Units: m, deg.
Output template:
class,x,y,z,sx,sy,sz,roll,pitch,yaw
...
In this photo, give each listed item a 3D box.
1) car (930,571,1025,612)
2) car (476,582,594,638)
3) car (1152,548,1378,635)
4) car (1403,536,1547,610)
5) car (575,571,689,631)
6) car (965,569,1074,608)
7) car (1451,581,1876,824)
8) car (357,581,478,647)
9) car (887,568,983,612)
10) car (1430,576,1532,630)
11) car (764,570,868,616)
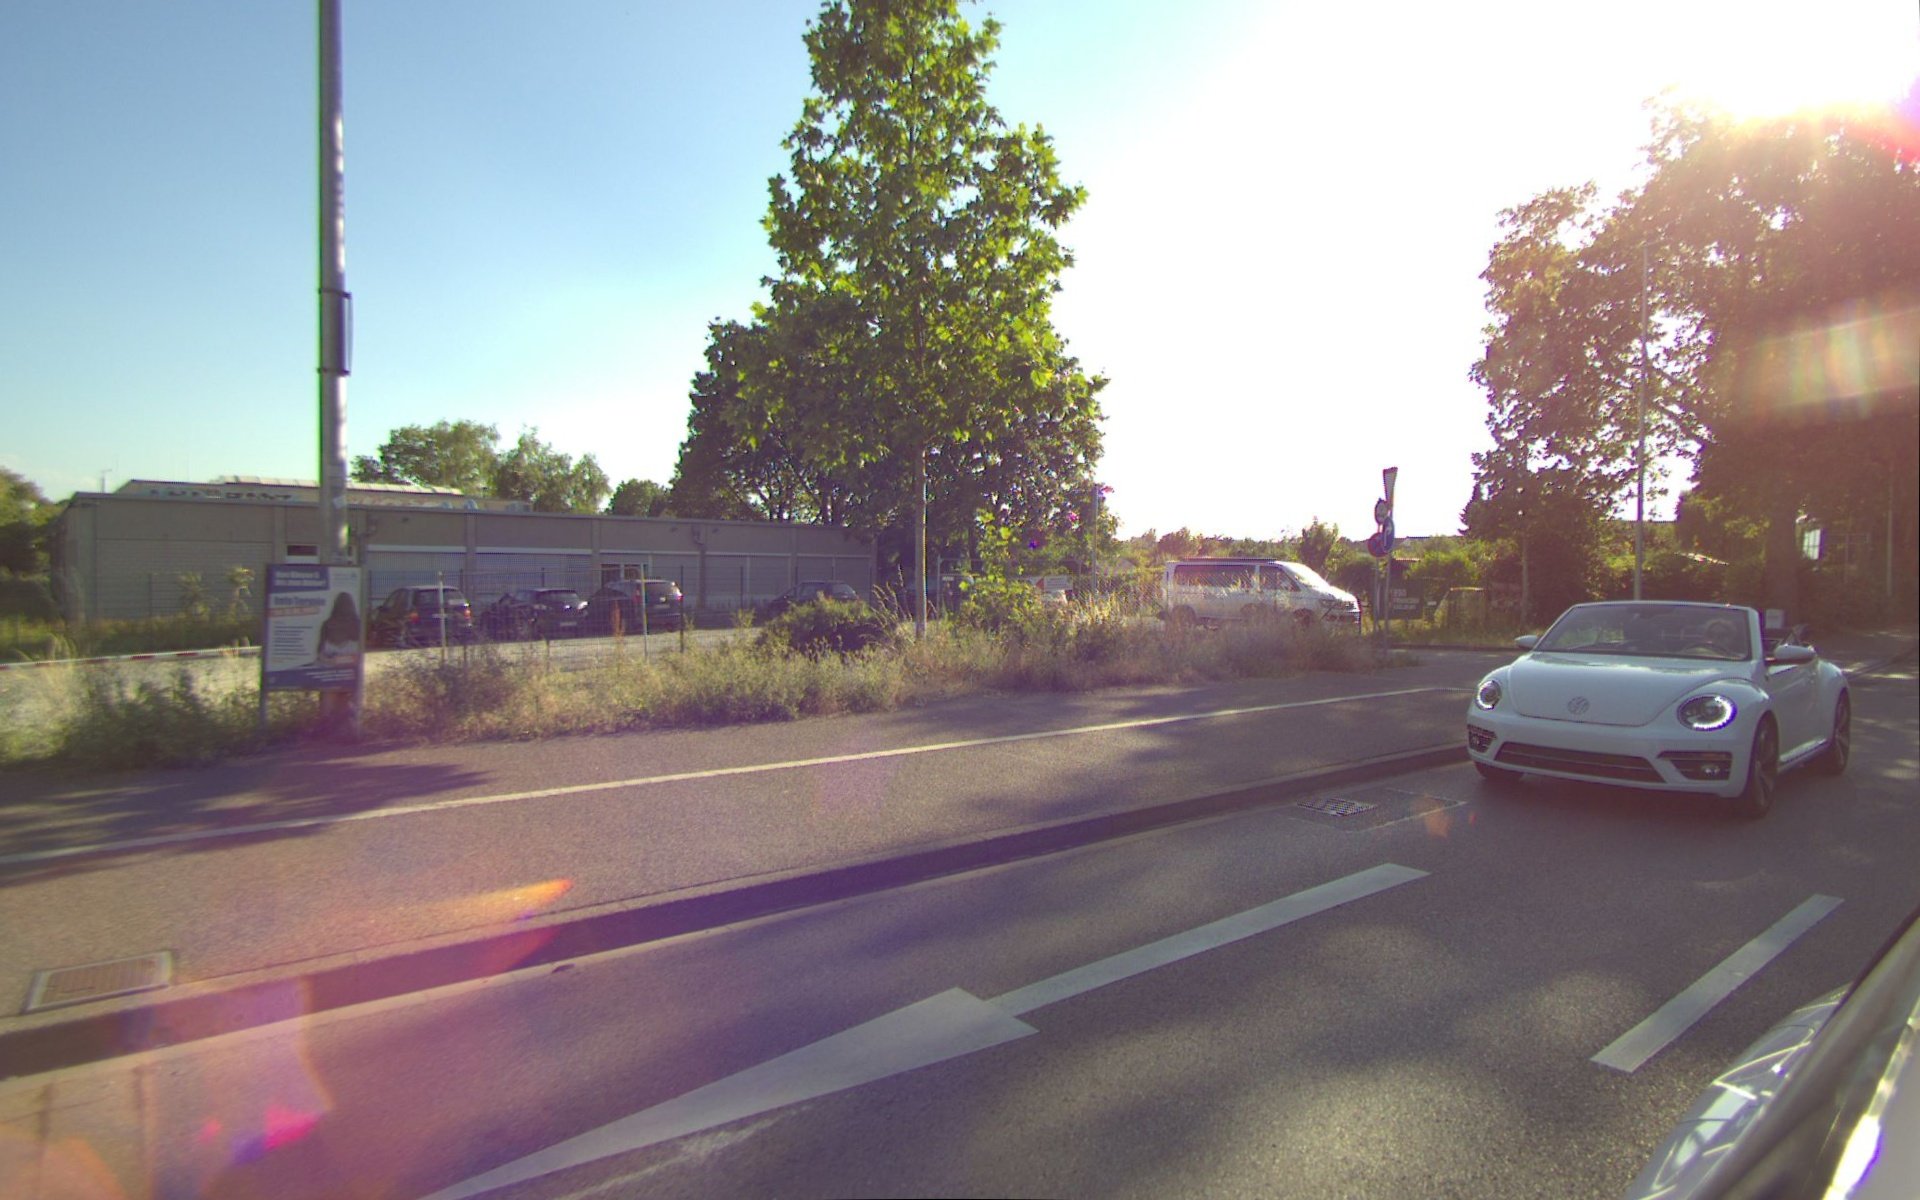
class,x,y,z,sx,sy,sz,roll,pitch,yaw
car,0.685,-0.347,41.797,1.694,1.606,3.830,0,0,-44
car,-12.304,0.243,29.217,3.781,1.413,1.714,1,4,43
car,7.838,-0.204,26.419,2.070,2.048,5.338,0,0,-45
car,20.259,-1.049,39.717,5.817,2.654,2.940,0,2,-40
car,-10.104,0.018,31.038,3.909,1.687,1.680,0,1,45
car,2.516,-0.472,43.796,4.649,1.589,1.829,0,0,44
car,5.708,0.590,8.039,3.910,1.441,1.855,0,1,-41
car,-14.579,0.311,27.124,3.781,1.575,1.702,1,4,43
car,-1.027,-0.371,40.086,1.637,1.661,3.866,0,0,-44
car,17.548,0.041,34.022,1.994,1.667,4.092,2,2,43
car,-5.317,-0.232,37.113,4.019,1.606,1.659,0,0,44
